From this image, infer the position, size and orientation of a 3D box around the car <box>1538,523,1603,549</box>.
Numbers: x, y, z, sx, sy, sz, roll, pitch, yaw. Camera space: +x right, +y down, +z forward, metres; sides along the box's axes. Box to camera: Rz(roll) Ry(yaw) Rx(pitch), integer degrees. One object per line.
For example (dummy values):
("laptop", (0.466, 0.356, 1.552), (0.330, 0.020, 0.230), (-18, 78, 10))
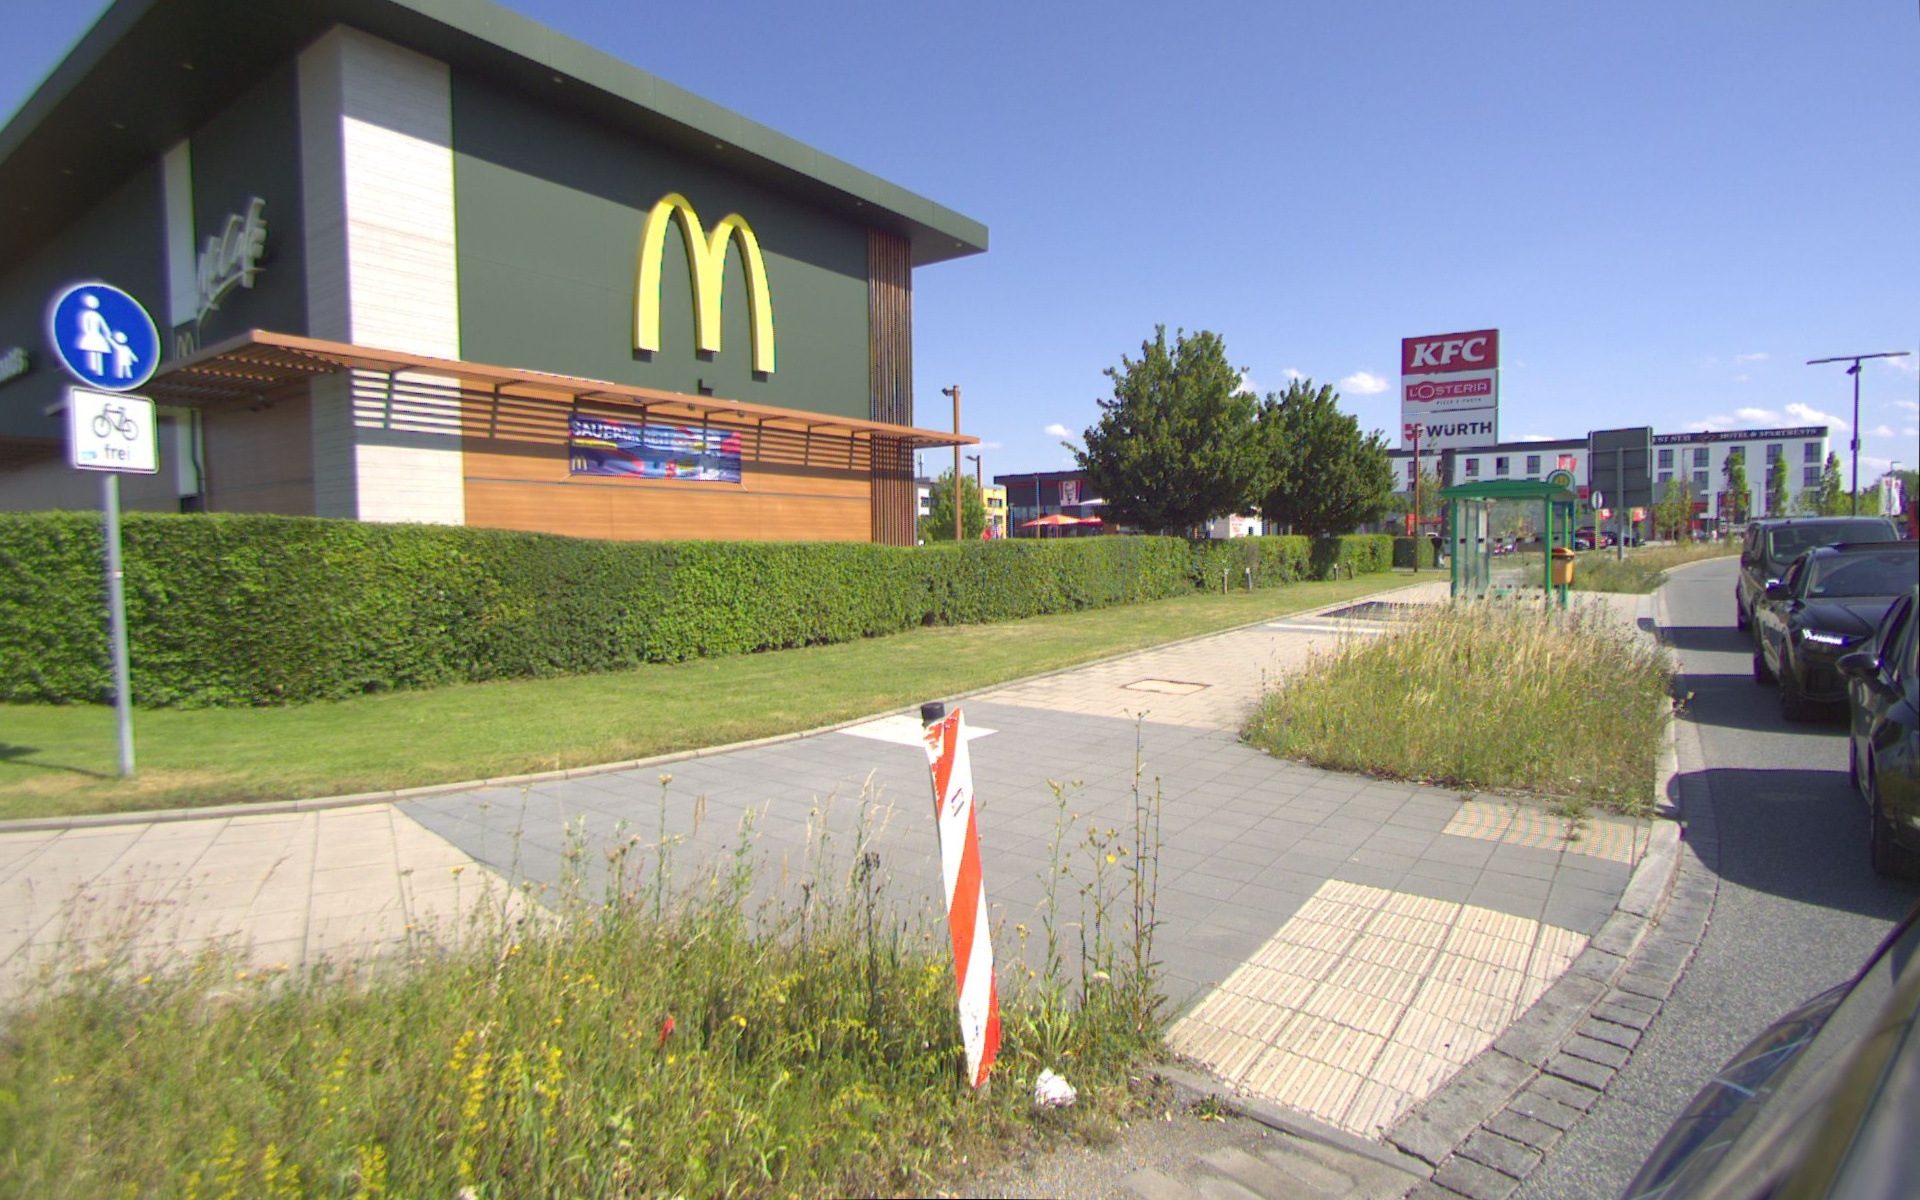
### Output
("car", (50.152, -5.260, 83.189), (1.901, 2.038, 4.180), (-3, 4, -41))

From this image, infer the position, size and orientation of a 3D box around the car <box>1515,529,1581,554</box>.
("car", (46.382, -4.630, 79.872), (1.770, 1.880, 4.187), (-3, 3, -36))

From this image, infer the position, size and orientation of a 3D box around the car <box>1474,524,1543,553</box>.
("car", (41.341, -4.617, 76.317), (1.900, 2.038, 4.182), (-3, 4, -40))

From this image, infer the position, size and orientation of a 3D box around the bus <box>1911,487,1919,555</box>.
("bus", (50.288, -4.024, 51.332), (2.608, 3.280, 11.705), (2, 4, 42))

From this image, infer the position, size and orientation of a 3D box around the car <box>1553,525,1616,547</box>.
("car", (52.586, -5.358, 85.311), (1.790, 1.783, 4.186), (-3, 4, -36))

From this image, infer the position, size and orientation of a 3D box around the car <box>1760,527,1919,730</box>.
("car", (9.437, 0.154, 10.358), (1.853, 1.709, 3.948), (-2, 2, 38))

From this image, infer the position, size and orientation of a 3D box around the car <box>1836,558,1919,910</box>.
("car", (5.945, 0.537, 5.415), (1.855, 1.486, 3.942), (2, 4, 41))

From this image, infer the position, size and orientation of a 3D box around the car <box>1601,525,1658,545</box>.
("car", (58.389, -5.667, 88.349), (1.727, 1.639, 3.820), (-3, 4, -40))

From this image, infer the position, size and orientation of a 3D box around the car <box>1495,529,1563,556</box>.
("car", (44.264, -4.471, 78.778), (1.899, 2.038, 4.183), (-3, 4, -39))

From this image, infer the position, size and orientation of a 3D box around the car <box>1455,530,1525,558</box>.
("car", (38.921, -4.095, 74.361), (1.899, 2.038, 4.184), (-3, 4, -39))

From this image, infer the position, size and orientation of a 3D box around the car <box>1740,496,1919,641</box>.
("car", (14.319, -0.562, 16.837), (2.069, 2.073, 4.621), (-2, 2, 38))
